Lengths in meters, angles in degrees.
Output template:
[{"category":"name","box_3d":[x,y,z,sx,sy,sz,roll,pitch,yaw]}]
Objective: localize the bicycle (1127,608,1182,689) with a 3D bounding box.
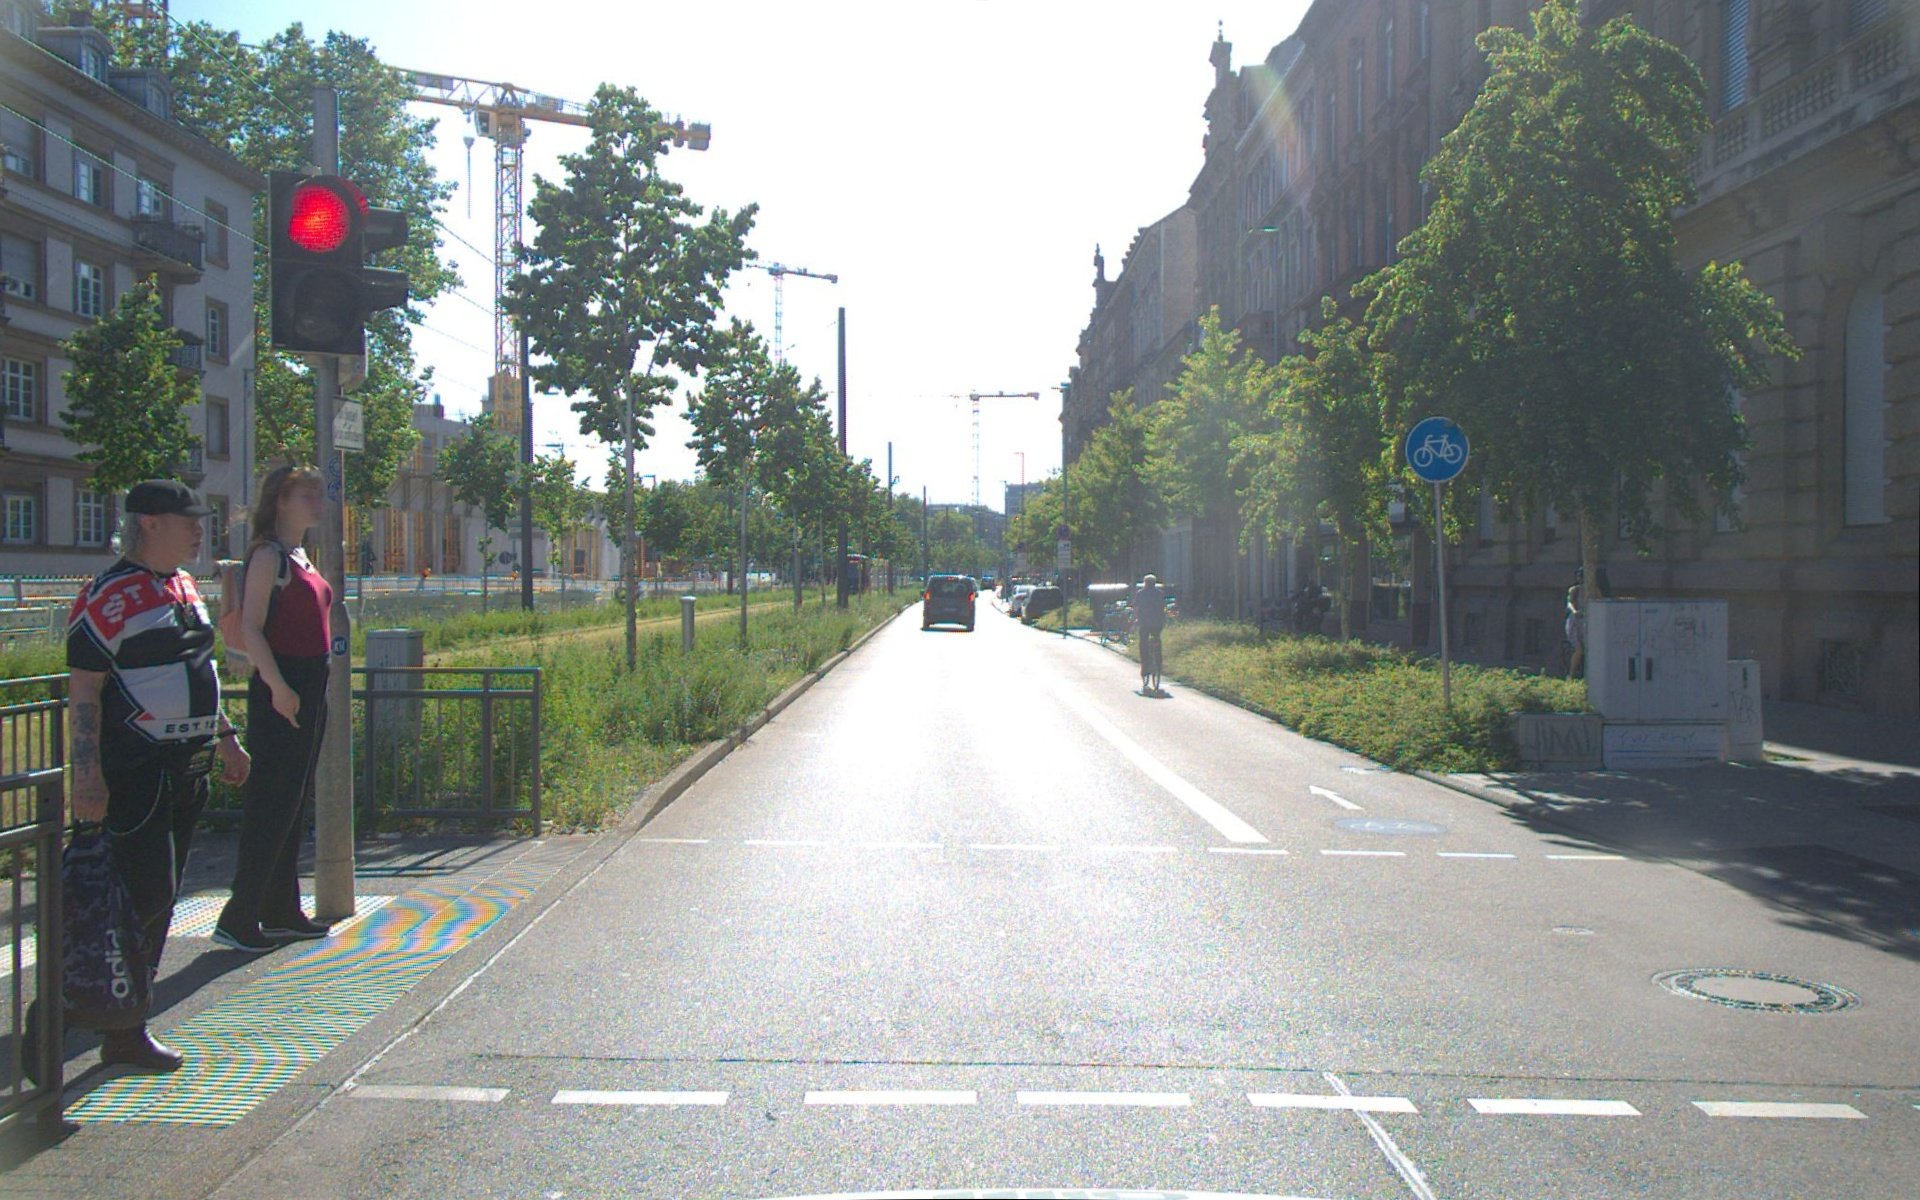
[{"category":"bicycle","box_3d":[3.125,0.763,26.657,0.589,1.201,1.869,2,1,-1]}]

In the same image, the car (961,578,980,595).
[{"category":"car","box_3d":[1.160,-1.485,178.421,1.953,1.759,3.999,1,0,-1]}]

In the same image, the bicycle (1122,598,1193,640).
[{"category":"bicycle","box_3d":[5.112,0.488,42.888,1.756,1.048,0.527,0,1,-1]}]

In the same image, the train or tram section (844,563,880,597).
[{"category":"train or tram section","box_3d":[-8.617,-1.741,146.270,2.700,2.790,9.861,1,0,-1]}]

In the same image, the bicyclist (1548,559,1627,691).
[{"category":"bicyclist","box_3d":[8.123,0.307,21.442,0.652,1.668,0.960,0,1,0]}]

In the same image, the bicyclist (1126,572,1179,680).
[{"category":"bicyclist","box_3d":[3.110,0.402,26.783,0.670,1.702,0.922,2,0,-2]}]

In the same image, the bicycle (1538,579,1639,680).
[{"category":"bicycle","box_3d":[8.134,0.357,21.484,0.571,1.244,1.900,0,1,-1]}]

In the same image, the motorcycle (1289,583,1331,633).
[{"category":"motorcycle","box_3d":[9.406,0.207,44.559,0.686,1.289,1.982,0,1,-1]}]

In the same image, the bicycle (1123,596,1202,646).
[{"category":"bicycle","box_3d":[4.877,0.507,39.891,1.756,1.048,0.527,-4,1,-1]}]

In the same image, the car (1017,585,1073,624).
[{"category":"car","box_3d":[3.452,0.148,67.750,1.987,1.525,4.653,0,1,-1]}]

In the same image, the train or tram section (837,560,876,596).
[{"category":"train or tram section","box_3d":[-8.483,-1.737,136.454,2.700,2.790,9.861,1,0,-1]}]

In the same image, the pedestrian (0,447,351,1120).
[{"category":"pedestrian","box_3d":[-2.406,0.494,4.985,0.848,1.819,0.969,1,0,-7]}]

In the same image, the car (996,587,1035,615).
[{"category":"car","box_3d":[3.087,0.044,92.606,1.987,1.525,4.529,0,1,-1]}]

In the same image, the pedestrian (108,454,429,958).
[{"category":"pedestrian","box_3d":[-2.792,0.401,6.770,1.055,1.942,0.652,0,0,-7]}]

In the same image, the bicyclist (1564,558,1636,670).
[{"category":"bicyclist","box_3d":[9.339,0.196,24.154,0.647,1.556,0.801,-4,1,0]}]

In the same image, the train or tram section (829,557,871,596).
[{"category":"train or tram section","box_3d":[-8.346,-1.732,126.610,2.700,2.790,9.861,1,0,-1]}]

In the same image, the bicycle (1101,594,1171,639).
[{"category":"bicycle","box_3d":[4.703,0.428,44.241,1.756,1.048,0.527,-4,1,-1]}]

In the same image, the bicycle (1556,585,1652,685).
[{"category":"bicycle","box_3d":[9.402,0.479,24.220,0.603,1.353,1.900,-4,1,1]}]

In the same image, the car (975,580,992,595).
[{"category":"car","box_3d":[2.943,-1.588,208.648,1.953,1.870,3.999,1,0,-1]}]

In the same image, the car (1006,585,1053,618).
[{"category":"car","box_3d":[3.332,0.068,80.082,1.987,1.525,4.529,0,1,-1]}]

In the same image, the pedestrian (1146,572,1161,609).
[{"category":"pedestrian","box_3d":[8.602,-0.443,73.483,0.601,1.640,0.669,0,0,-1]}]

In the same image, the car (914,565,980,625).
[{"category":"car","box_3d":[-0.465,-0.190,56.965,2.155,1.960,4.653,0,0,-1]}]

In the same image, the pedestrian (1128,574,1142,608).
[{"category":"pedestrian","box_3d":[8.596,-0.440,81.394,0.601,1.640,0.669,0,0,-1]}]

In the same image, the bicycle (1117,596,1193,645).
[{"category":"bicycle","box_3d":[4.852,0.506,41.265,1.756,1.048,0.527,-4,1,-1]}]
